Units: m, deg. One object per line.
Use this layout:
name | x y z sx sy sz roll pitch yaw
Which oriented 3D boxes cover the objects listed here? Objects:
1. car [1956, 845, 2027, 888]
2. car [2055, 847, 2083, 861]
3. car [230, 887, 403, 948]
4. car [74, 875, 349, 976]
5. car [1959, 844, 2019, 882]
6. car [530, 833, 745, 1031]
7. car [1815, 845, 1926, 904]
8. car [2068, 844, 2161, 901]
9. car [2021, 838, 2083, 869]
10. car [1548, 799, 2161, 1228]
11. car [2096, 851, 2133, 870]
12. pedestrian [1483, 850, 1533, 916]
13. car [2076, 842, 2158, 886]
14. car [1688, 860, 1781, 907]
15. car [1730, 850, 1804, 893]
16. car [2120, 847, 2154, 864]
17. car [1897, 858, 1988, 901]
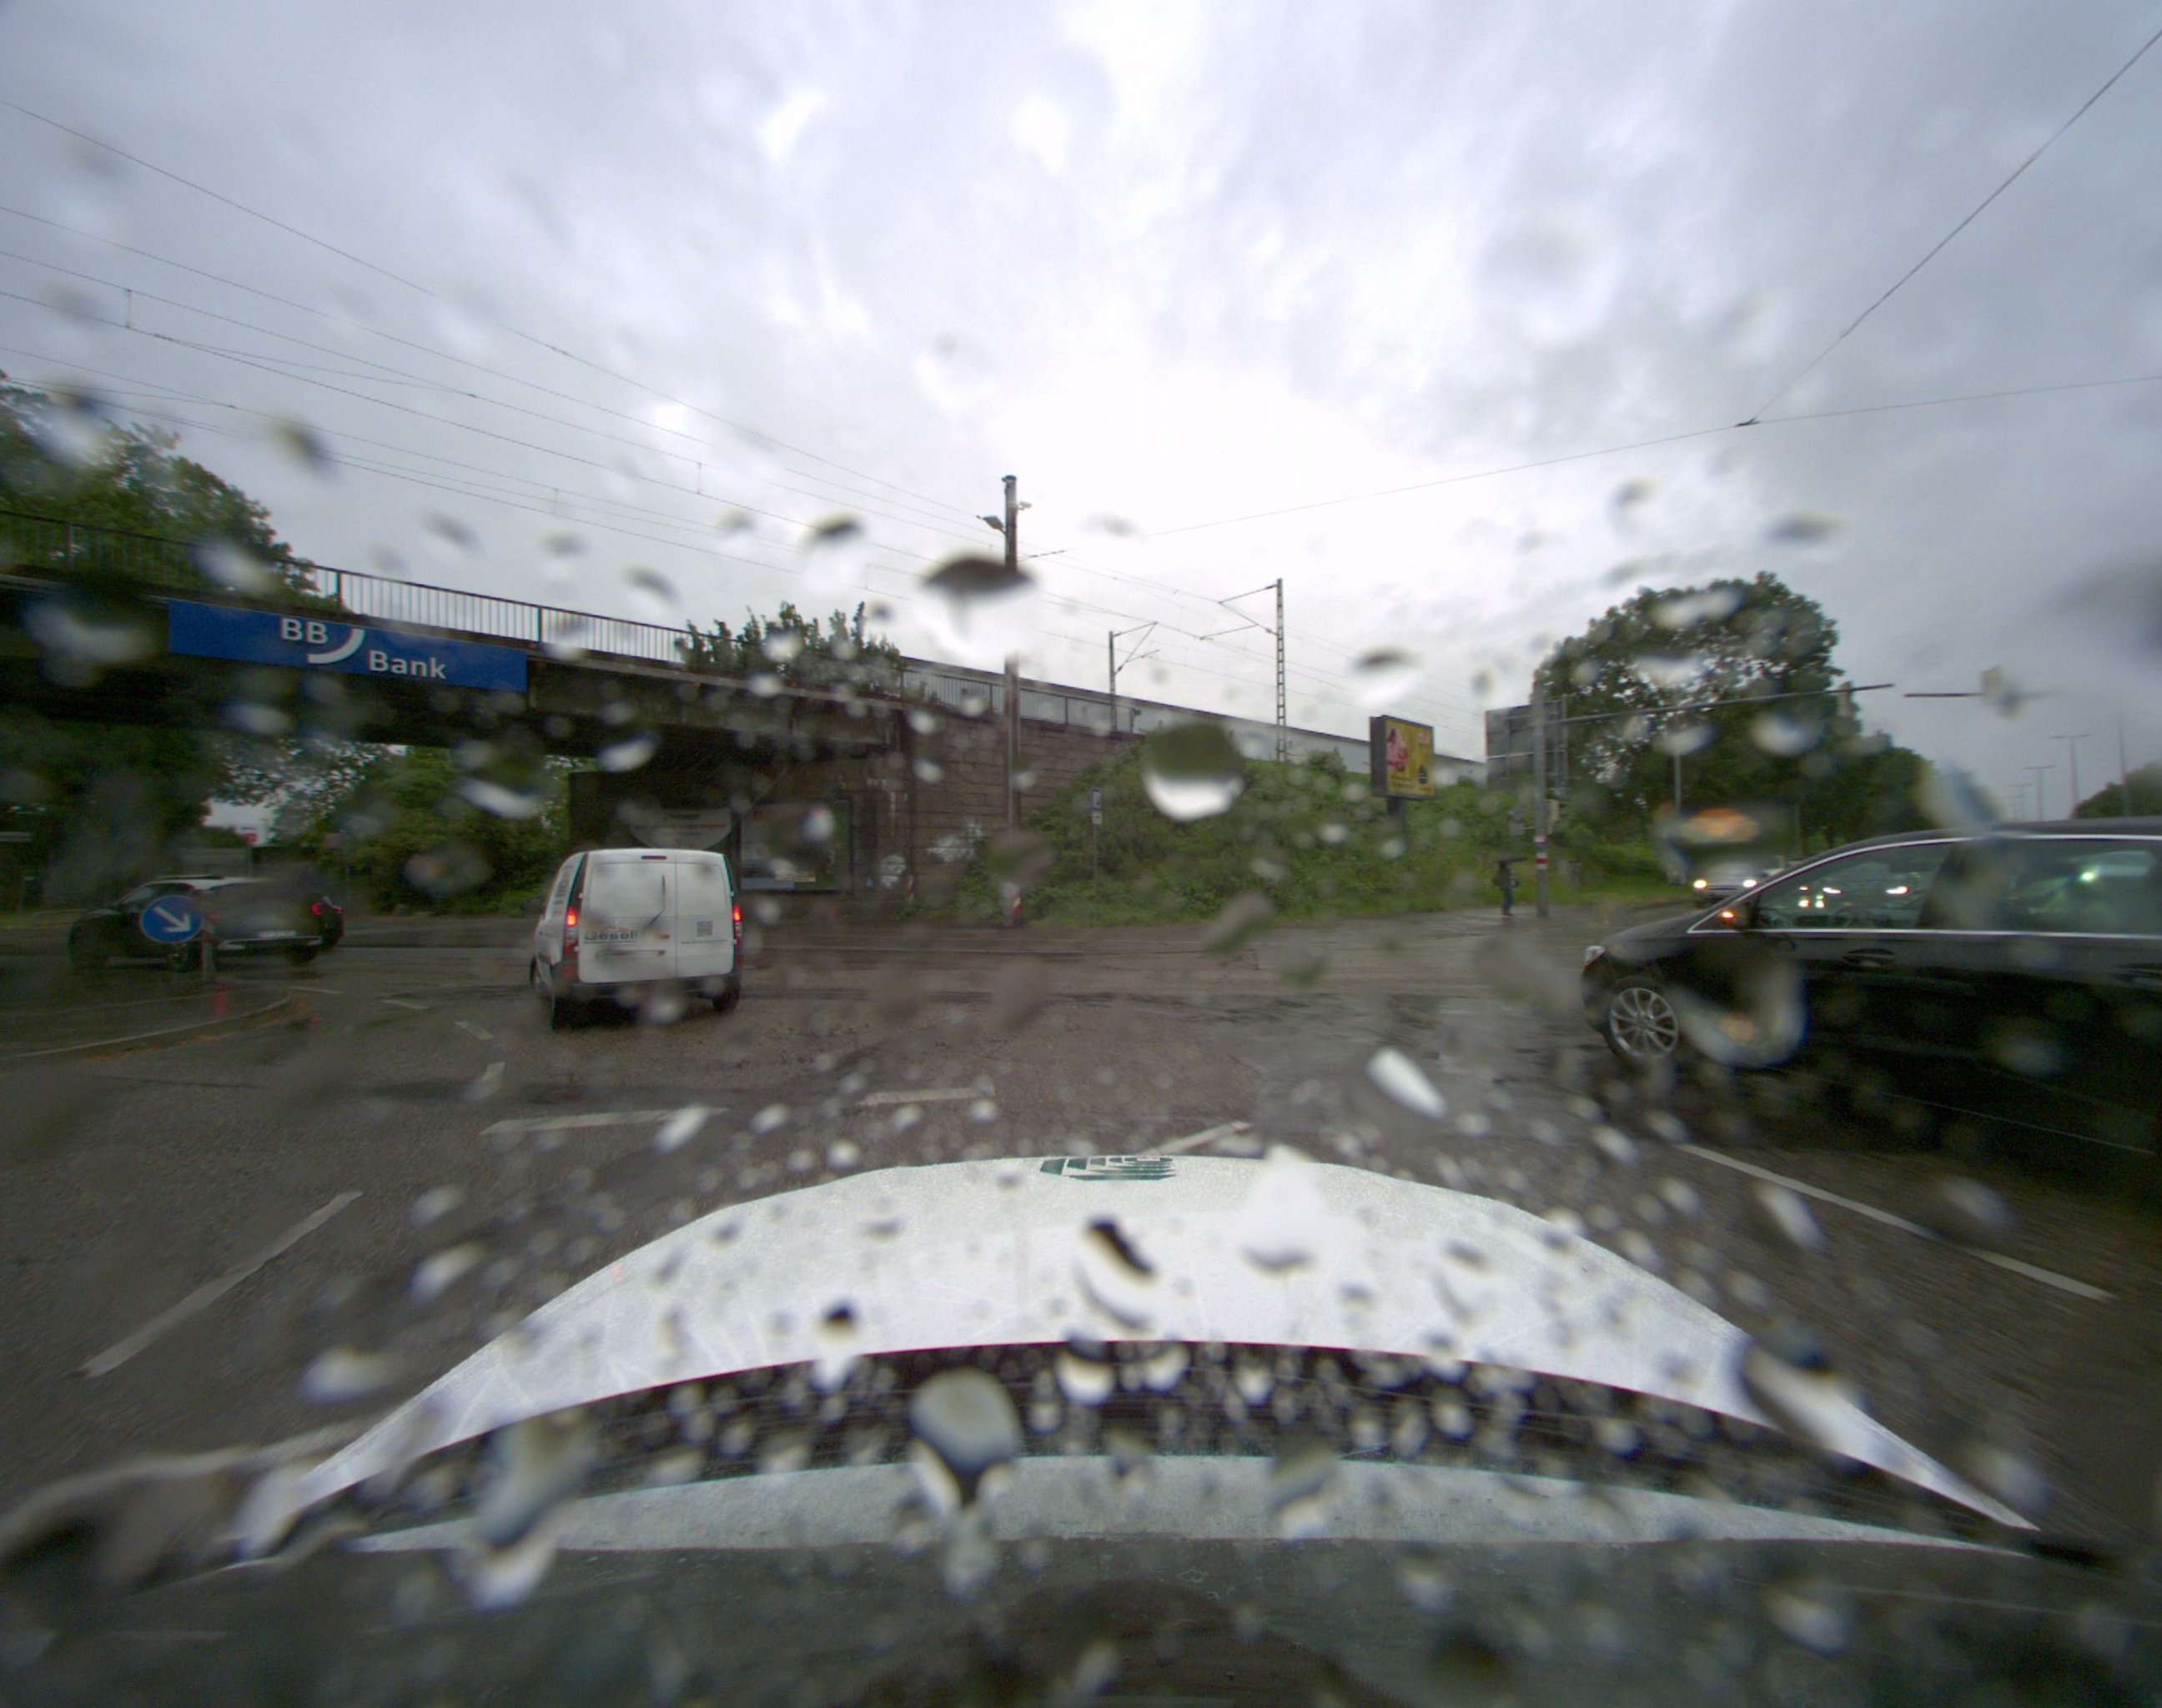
car | 38.967 0.486 34.927 4.023 1.720 1.848 -1 -1 -44
car | 126.492 -0.019 104.301 4.022 1.618 1.979 -1 -1 -43
car | -18.193 1.481 19.409 3.220 1.283 1.695 -1 0 20
car | -15.848 1.237 14.891 3.955 1.609 1.933 -1 0 18
car | 43.662 0.414 39.217 4.022 1.720 1.828 -1 -1 -43
car | -5.364 0.749 9.570 1.769 1.777 3.957 -2 0 -35
car | 24.742 0.600 25.476 4.081 1.657 2.005 -1 0 -39
car | 34.023 0.555 26.613 4.325 1.720 2.151 -1 0 -41
car | 57.254 -0.029 48.078 1.920 1.720 4.023 -2 -1 45
car | 4.634 0.564 4.132 1.868 1.523 4.078 -1 0 -7
car | 93.187 0.540 73.433 4.021 1.618 1.827 0 1 -41
pedestrian | 11.455 0.750 21.844 0.992 1.719 0.825 -1 -1 40
car | 42.945 0.375 33.828 1.585 1.720 4.023 -2 -1 45
car | 21.355 0.918 26.558 4.023 1.349 1.875 -1 0 -45
car | 26.043 0.643 30.863 1.810 1.482 4.023 -2 -1 45
car | 110.966 0.149 85.608 4.021 1.618 1.979 -1 -1 -41
car | 30.083 0.859 28.545 1.809 1.358 4.025 -2 0 42
